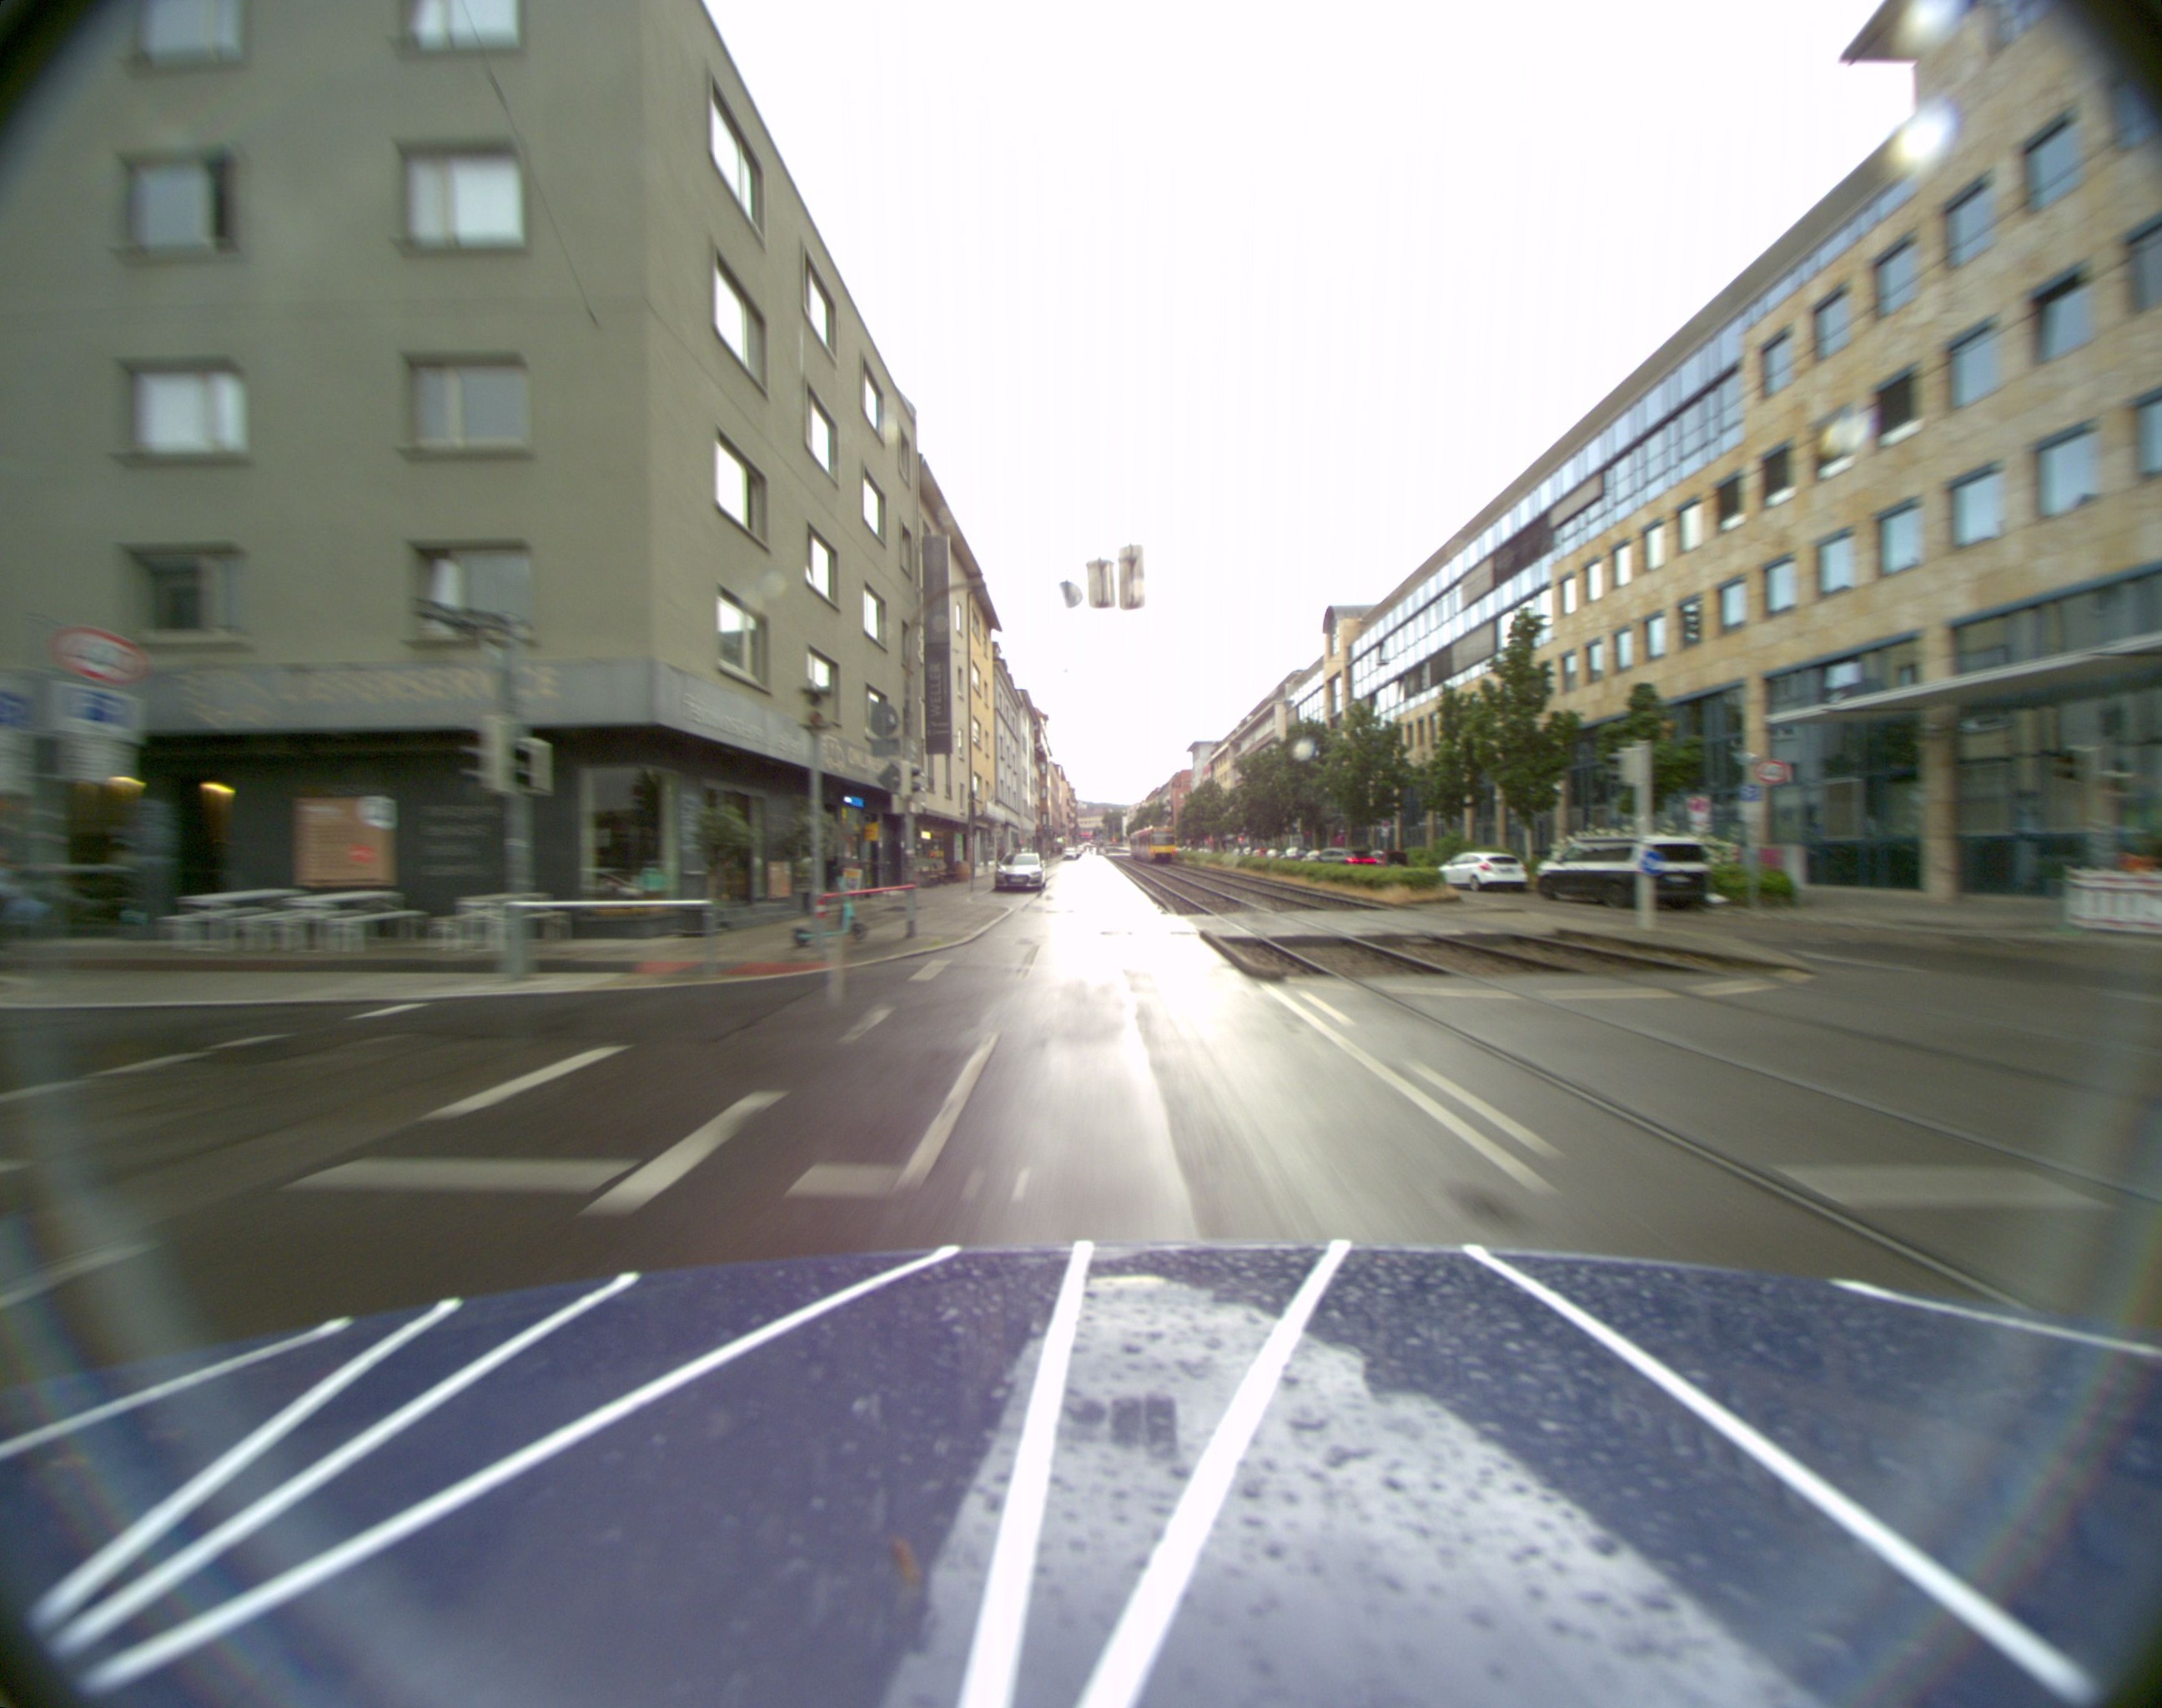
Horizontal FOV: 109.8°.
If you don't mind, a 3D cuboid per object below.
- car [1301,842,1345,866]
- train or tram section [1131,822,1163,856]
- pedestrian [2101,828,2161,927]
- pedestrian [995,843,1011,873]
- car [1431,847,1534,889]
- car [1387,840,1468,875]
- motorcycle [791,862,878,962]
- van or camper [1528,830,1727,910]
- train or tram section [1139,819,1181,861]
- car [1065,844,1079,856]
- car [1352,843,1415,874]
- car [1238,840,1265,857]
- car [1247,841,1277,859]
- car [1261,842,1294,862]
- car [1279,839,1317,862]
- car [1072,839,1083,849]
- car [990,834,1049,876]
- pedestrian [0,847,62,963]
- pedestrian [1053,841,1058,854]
[{"bbox_3d":[15.900,-0.016,50.088,1.653,1.489,4.292,0,1,1],"label":"car"},{"bbox_3d":[8.503,-2.114,100.517,2.909,4.028,18.406,0,2,1],"label":"train or tram section"},{"bbox_3d":[19.798,0.419,14.145,0.703,1.804,0.679,-1,1,4],"label":"pedestrian"},{"bbox_3d":[-4.474,0.233,43.513,0.793,1.650,0.721,-2,2,1],"label":"pedestrian"},{"bbox_3d":[15.467,0.481,29.538,1.693,1.477,4.255,-1,0,0],"label":"car"},{"bbox_3d":[15.914,0.136,35.146,1.693,1.477,4.295,-1,0,-1],"label":"car"},{"bbox_3d":[-3.866,0.878,11.929,1.134,1.453,0.682,-1,2,-35],"label":"motorcycle"},{"bbox_3d":[15.305,0.325,21.769,2.022,1.986,5.196,-1,2,1],"label":"van or camper"},{"bbox_3d":[8.228,-1.645,81.985,2.909,4.028,18.762,0,2,1],"label":"train or tram section"},{"bbox_3d":[-1.144,-0.576,98.543,1.653,1.489,4.067,0,1,1],"label":"car"},{"bbox_3d":[15.767,0.217,39.857,1.693,1.477,3.999,-1,0,0],"label":"car"},{"bbox_3d":[16.352,-0.571,73.009,1.653,1.532,4.621,0,1,1],"label":"car"},{"bbox_3d":[16.188,-0.425,68.069,1.653,1.532,4.621,0,1,1],"label":"car"},{"bbox_3d":[16.089,-0.223,62.317,1.653,1.532,4.621,0,1,1],"label":"car"},{"bbox_3d":[15.884,-0.264,55.744,1.653,1.592,4.292,0,1,1],"label":"car"},{"bbox_3d":[-0.579,-1.705,131.209,1.653,1.584,4.067,0,1,1],"label":"car"},{"bbox_3d":[-2.419,0.001,31.130,2.029,1.585,4.619,0,1,0],"label":"car"},{"bbox_3d":[-15.406,0.727,10.792,0.549,1.601,0.861,0,3,5],"label":"pedestrian"},{"bbox_3d":[-3.508,-0.916,103.153,0.640,1.691,0.883,0,2,2],"label":"pedestrian"}]
